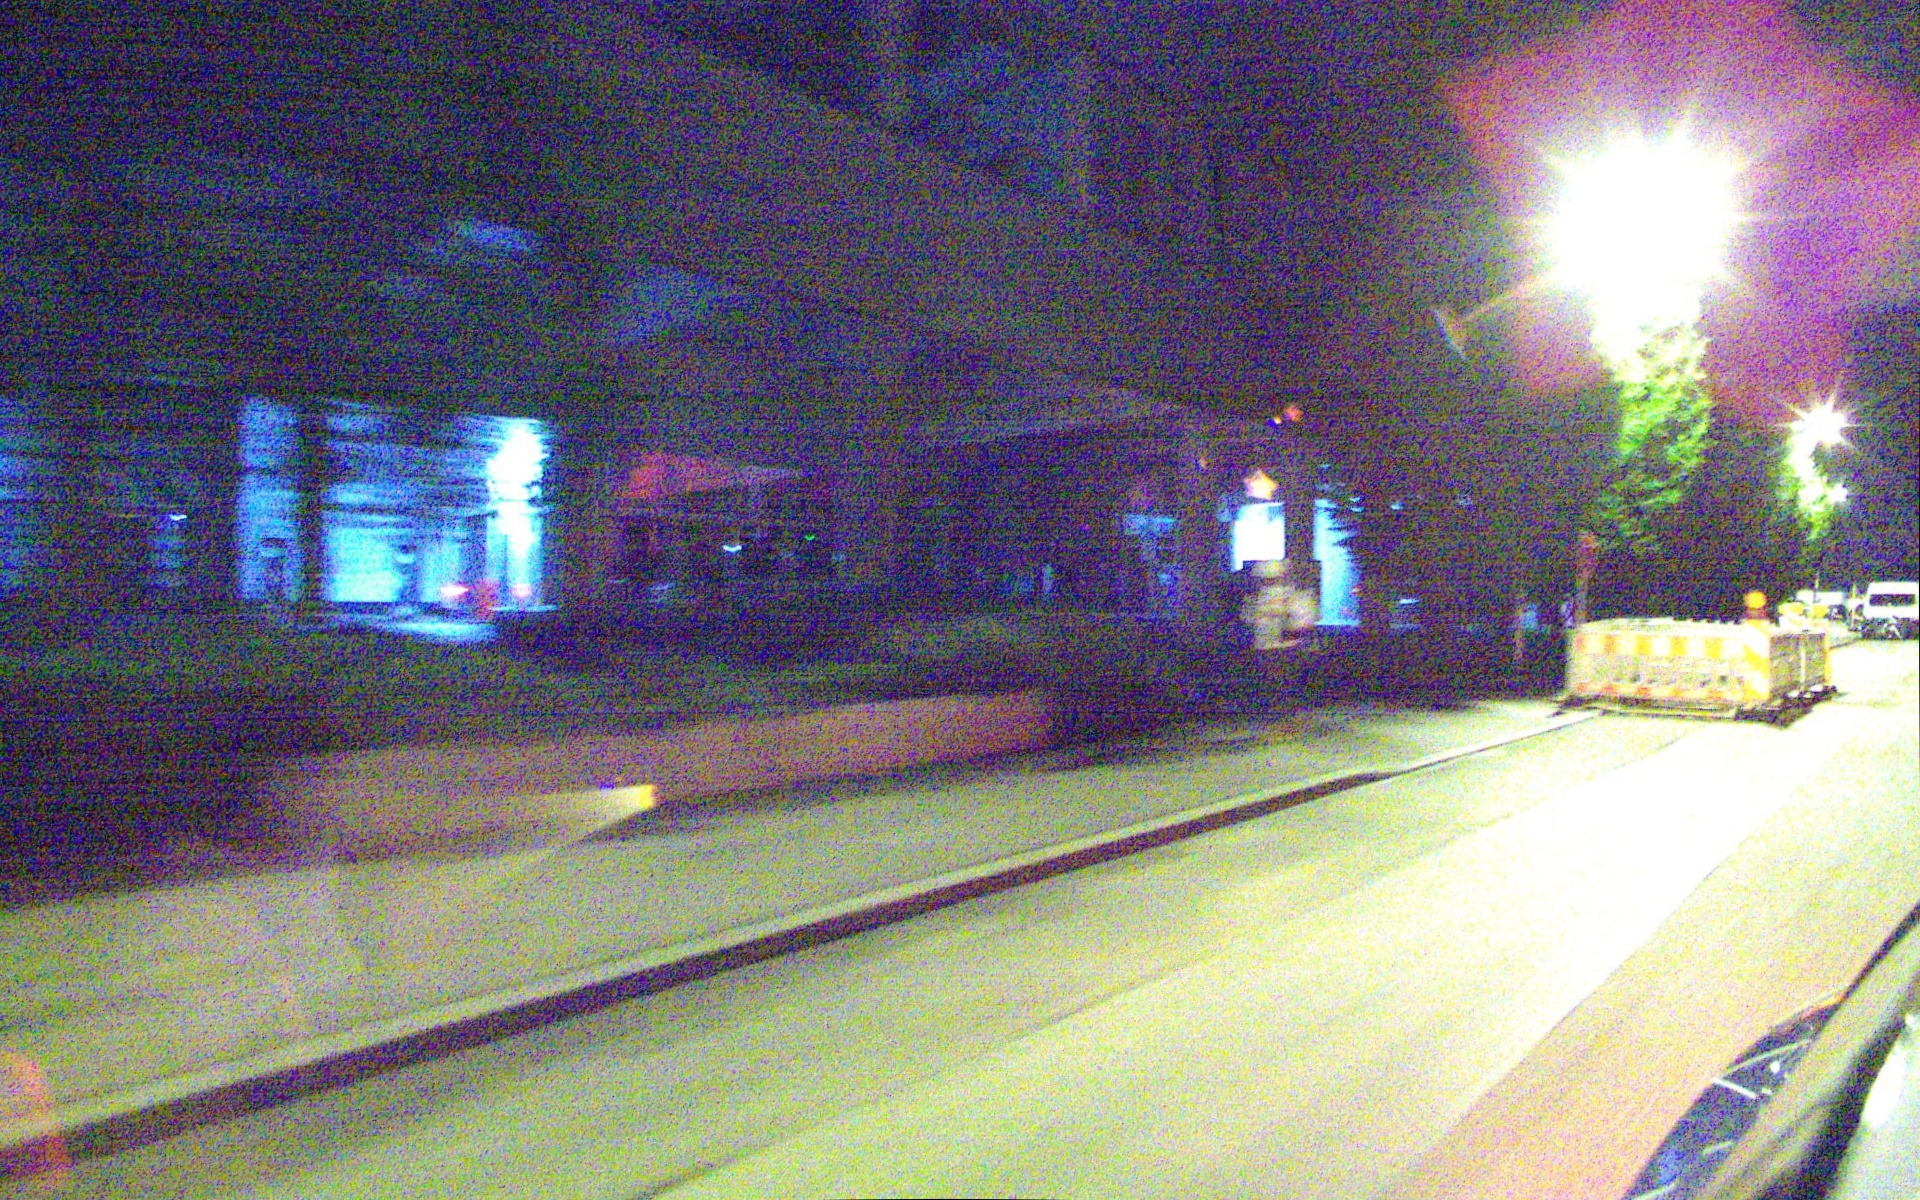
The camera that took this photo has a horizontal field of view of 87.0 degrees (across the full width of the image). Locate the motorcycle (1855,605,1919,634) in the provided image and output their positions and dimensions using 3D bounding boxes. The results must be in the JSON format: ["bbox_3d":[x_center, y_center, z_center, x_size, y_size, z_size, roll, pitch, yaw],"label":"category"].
[{"bbox_3d":[40.163,0.829,43.714,0.752,1.198,2.189,0,0,-12],"label":"motorcycle"}]

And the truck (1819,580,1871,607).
[{"bbox_3d":[97.160,-0.759,111.207,1.977,2.819,7.190,1,1,22],"label":"truck"}]

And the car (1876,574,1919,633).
[{"bbox_3d":[43.555,0.159,46.363,5.952,2.558,2.022,0,0,-45],"label":"car"}]

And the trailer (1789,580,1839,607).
[{"bbox_3d":[100.454,-0.763,119.152,2.464,3.111,7.886,1,1,25],"label":"trailer"}]

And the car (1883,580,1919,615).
[{"bbox_3d":[92.453,-0.270,97.849,2.362,3.284,7.178,1,1,22],"label":"car"}]

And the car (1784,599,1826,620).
[{"bbox_3d":[82.306,0.894,98.627,1.980,2.039,5.304,-1,0,27],"label":"car"}]

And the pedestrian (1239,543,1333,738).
[{"bbox_3d":[3.295,0.382,10.215,0.806,1.876,0.571,0,0,-43],"label":"pedestrian"}]
